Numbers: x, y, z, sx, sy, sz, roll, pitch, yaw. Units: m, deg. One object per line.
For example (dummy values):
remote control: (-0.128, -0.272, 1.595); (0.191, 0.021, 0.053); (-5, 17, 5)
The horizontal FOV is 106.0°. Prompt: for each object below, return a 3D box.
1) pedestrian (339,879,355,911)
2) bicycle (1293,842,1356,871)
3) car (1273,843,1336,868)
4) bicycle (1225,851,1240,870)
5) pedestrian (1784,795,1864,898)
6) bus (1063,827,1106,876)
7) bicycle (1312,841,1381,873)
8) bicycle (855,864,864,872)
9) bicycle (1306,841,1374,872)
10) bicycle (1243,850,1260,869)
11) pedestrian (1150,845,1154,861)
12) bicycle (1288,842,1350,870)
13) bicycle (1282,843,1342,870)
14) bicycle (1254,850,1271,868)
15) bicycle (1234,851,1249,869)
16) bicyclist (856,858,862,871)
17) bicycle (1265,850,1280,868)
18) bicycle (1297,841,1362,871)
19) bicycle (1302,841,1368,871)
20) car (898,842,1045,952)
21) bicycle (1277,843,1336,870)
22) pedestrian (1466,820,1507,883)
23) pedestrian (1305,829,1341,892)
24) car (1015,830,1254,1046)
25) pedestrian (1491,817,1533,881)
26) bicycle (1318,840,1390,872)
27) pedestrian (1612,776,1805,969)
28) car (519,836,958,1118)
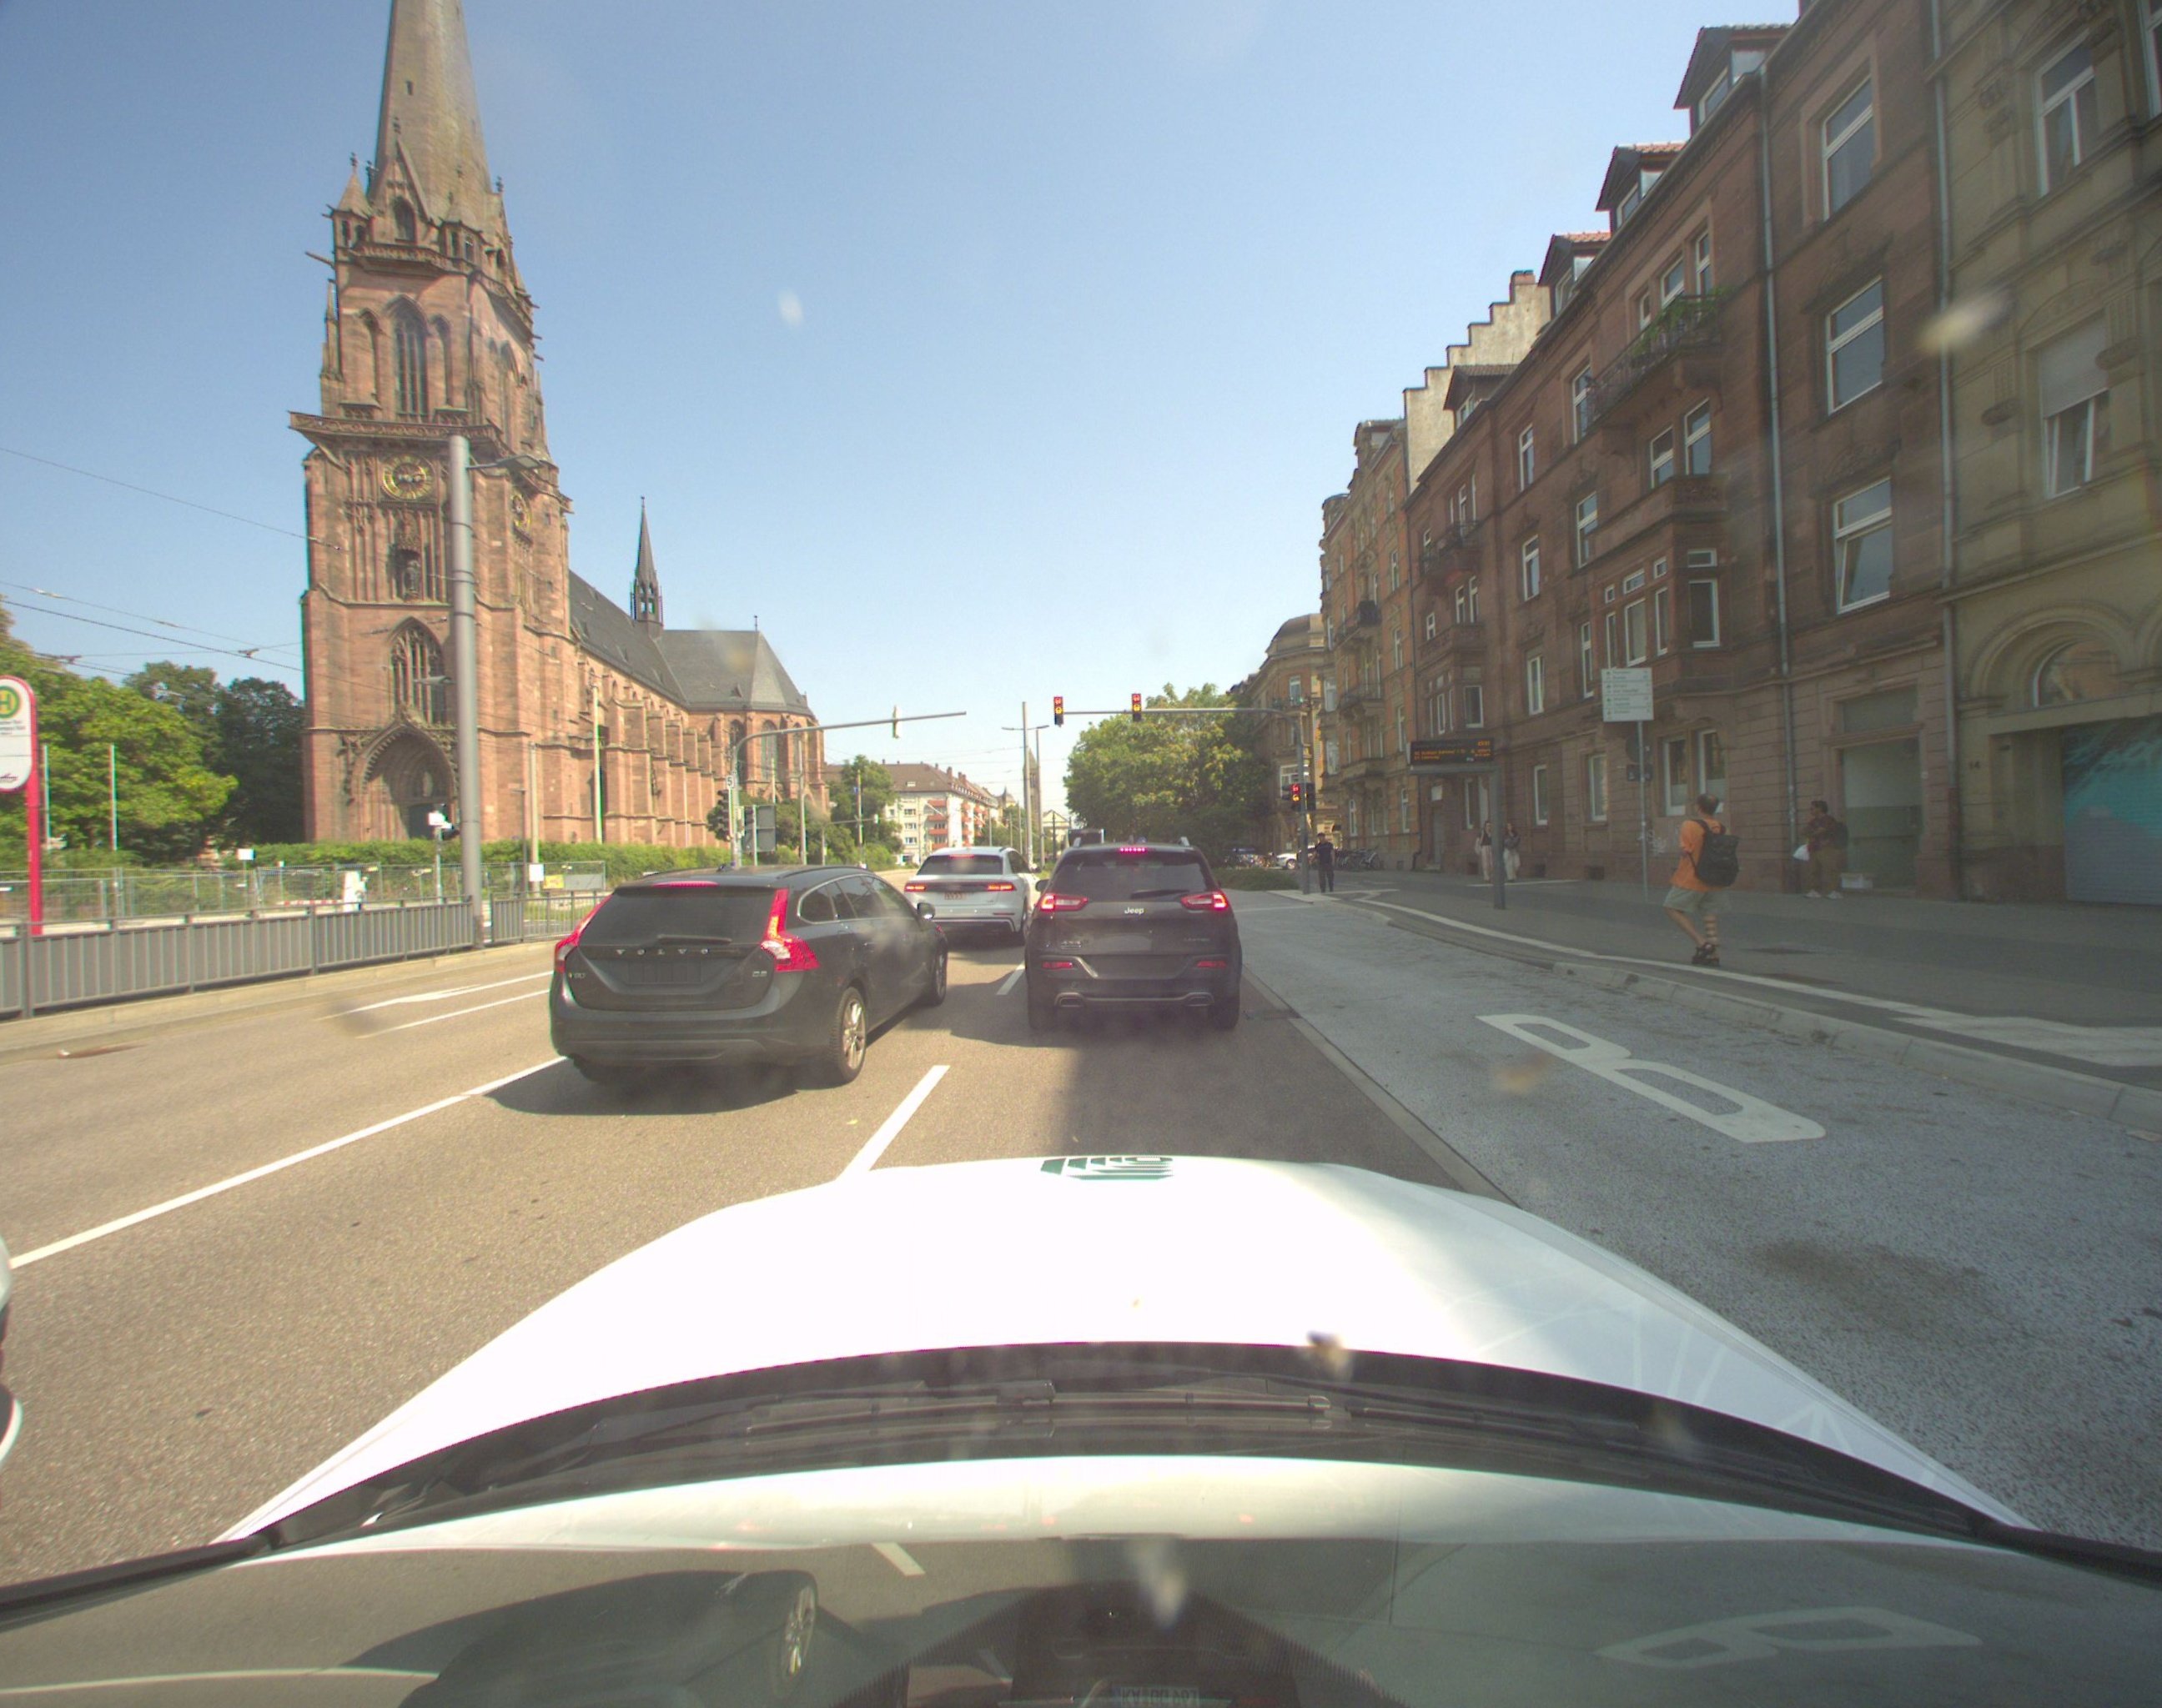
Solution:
pedestrian: (-35.987, 2.023, 39.933); (0.547, 1.531, 0.430); (-2, 0, -41)
bicycle: (12.732, 0.120, 42.656); (2.993, 1.373, 0.948); (-2, 0, 1)
car: (15.686, 0.097, 57.271); (3.926, 1.521, 1.679); (-2, 0, -6)
bicycle: (10.839, 0.445, 58.380); (0.646, 1.253, 3.017); (-2, 0, 4)
pedestrian: (13.275, -0.138, 14.563); (0.872, 1.778, 0.737); (-2, 0, -26)
bus: (0.151, -0.097, 57.752); (2.735, 3.107, 11.950); (0, 0, -1)
bicycle: (12.610, 0.159, 38.757); (2.983, 1.371, 0.871); (-2, 0, 1)
bicycle: (-23.958, 1.533, 88.012); (0.452, 0.859, 1.477); (-2, 0, 3)
bicycle: (12.599, 0.122, 39.671); (2.983, 1.371, 0.871); (-2, 0, 1)
bicycle: (12.192, 0.388, 58.322); (0.729, 1.253, 3.017); (-2, 0, 4)
pedestrian: (9.432, -0.151, 108.271); (0.526, 2.013, 0.532); (-2, 0, 0)
bicycle: (12.726, 0.121, 43.667); (2.993, 1.373, 0.948); (-2, 0, 1)
bicycle: (12.733, 0.139, 44.985); (2.993, 1.373, 0.948); (-2, 0, 1)
bicycle: (12.979, 0.355, 58.317); (0.759, 1.253, 3.017); (-2, 0, 4)
bicycle: (11.496, 0.415, 58.340); (0.646, 1.253, 3.017); (-2, 0, 4)
bicyclist: (-23.972, 1.121, 88.006); (0.446, 1.321, 0.425); (-2, 0, 3)
bicycle: (13.793, 0.322, 58.732); (0.655, 1.249, 2.415); (-2, 0, 4)
bicycle: (12.684, 0.117, 41.562); (2.993, 1.373, 0.948); (-2, 0, 1)
bicycle: (12.653, 0.109, 40.618); (2.983, 1.371, 0.871); (-2, 0, 1)
car: (-1.784, 0.654, 14.687); (1.895, 1.651, 4.310); (-1, 0, 2)
bicycle: (12.727, 0.147, 46.028); (2.993, 1.373, 0.948); (-2, 0, 1)
pedestrian: (11.784, -0.065, 23.704); (0.711, 1.776, 0.848); (-2, 0, 1)
pedestrian: (7.011, 0.192, 23.559); (0.891, 1.741, 0.772); (-4, -1, 17)
car: (0.523, 0.648, 8.446); (1.825, 1.651, 4.312); (-1, 0, 3)
pedestrian: (12.523, -0.144, 23.698); (0.712, 1.778, 0.870); (-2, 0, 0)
bicycle: (12.671, 0.092, 37.849); (2.983, 1.371, 0.871); (-2, 0, 1)
pedestrian: (6.139, 0.184, 8.075); (0.959, 1.741, 1.241); (-2, -2, 6)
car: (-2.321, 0.711, 6.884); (1.741, 1.614, 4.310); (-1, 0, 2)
